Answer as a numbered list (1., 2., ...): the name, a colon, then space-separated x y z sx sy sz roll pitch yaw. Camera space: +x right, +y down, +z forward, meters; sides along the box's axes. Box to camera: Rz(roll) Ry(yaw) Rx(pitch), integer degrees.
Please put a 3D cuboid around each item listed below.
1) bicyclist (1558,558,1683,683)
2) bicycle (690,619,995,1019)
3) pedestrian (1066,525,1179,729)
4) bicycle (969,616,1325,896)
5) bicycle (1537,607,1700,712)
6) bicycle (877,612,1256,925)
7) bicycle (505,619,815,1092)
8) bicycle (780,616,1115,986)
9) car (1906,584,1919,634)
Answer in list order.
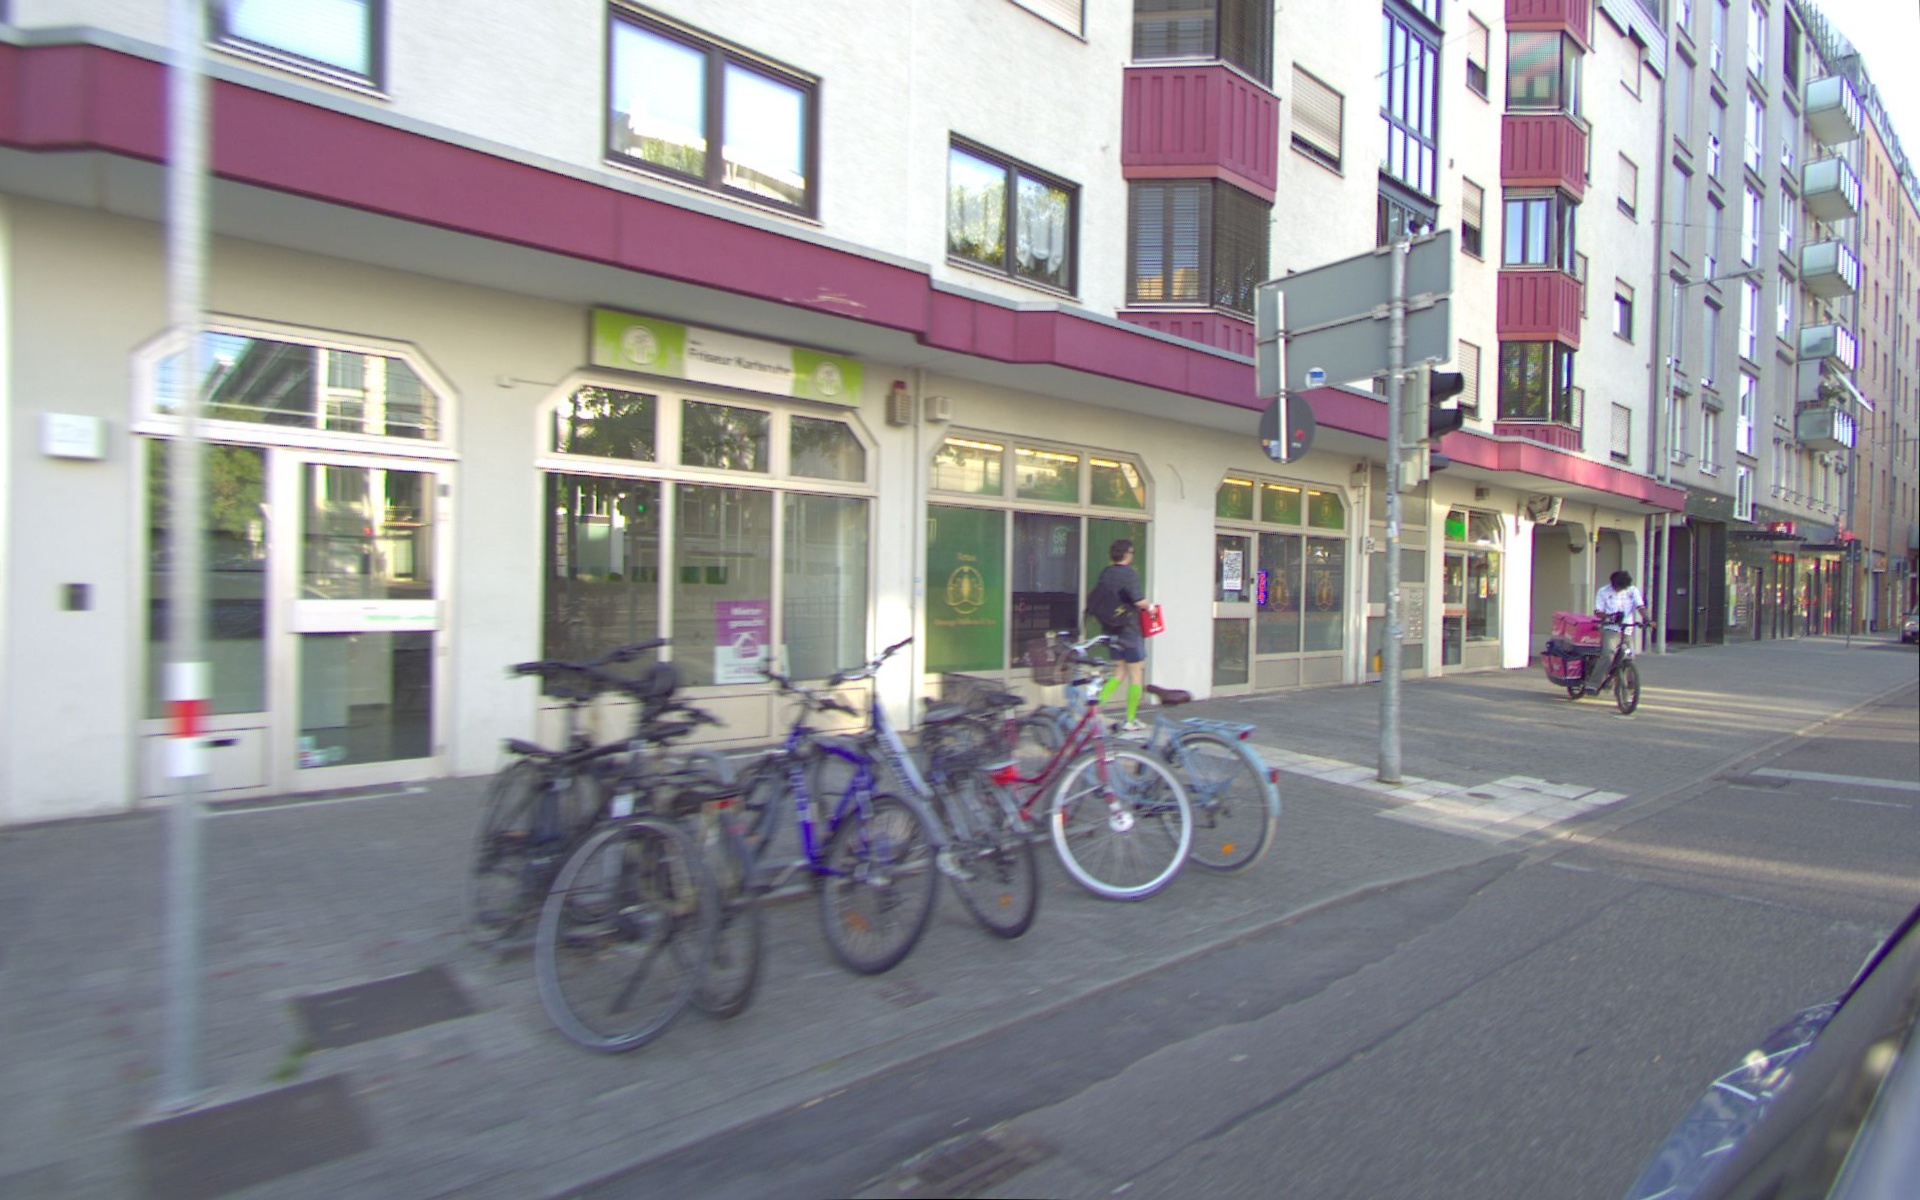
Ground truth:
1. bicyclist: 8.719 0.251 13.423 1.044 1.559 1.075 1 1 13
2. bicycle: -0.551 0.718 4.059 0.486 1.214 1.628 1 1 -35
3. pedestrian: 1.588 0.242 9.883 0.787 1.881 0.724 1 1 -40
4. bicycle: 0.920 0.721 5.484 0.562 1.185 1.942 1 1 -42
5. bicycle: 8.739 0.725 13.596 0.949 1.198 2.588 1 1 12
6. bicycle: 0.439 0.707 5.093 0.581 1.214 1.978 1 1 -44
7. bicycle: -1.178 0.721 3.677 0.535 1.214 1.808 -1 2 -35
8. bicycle: -0.154 0.725 4.460 0.487 1.236 1.837 1 1 -36
9. car: 34.040 0.370 34.619 4.207 1.642 1.838 0 4 -40
